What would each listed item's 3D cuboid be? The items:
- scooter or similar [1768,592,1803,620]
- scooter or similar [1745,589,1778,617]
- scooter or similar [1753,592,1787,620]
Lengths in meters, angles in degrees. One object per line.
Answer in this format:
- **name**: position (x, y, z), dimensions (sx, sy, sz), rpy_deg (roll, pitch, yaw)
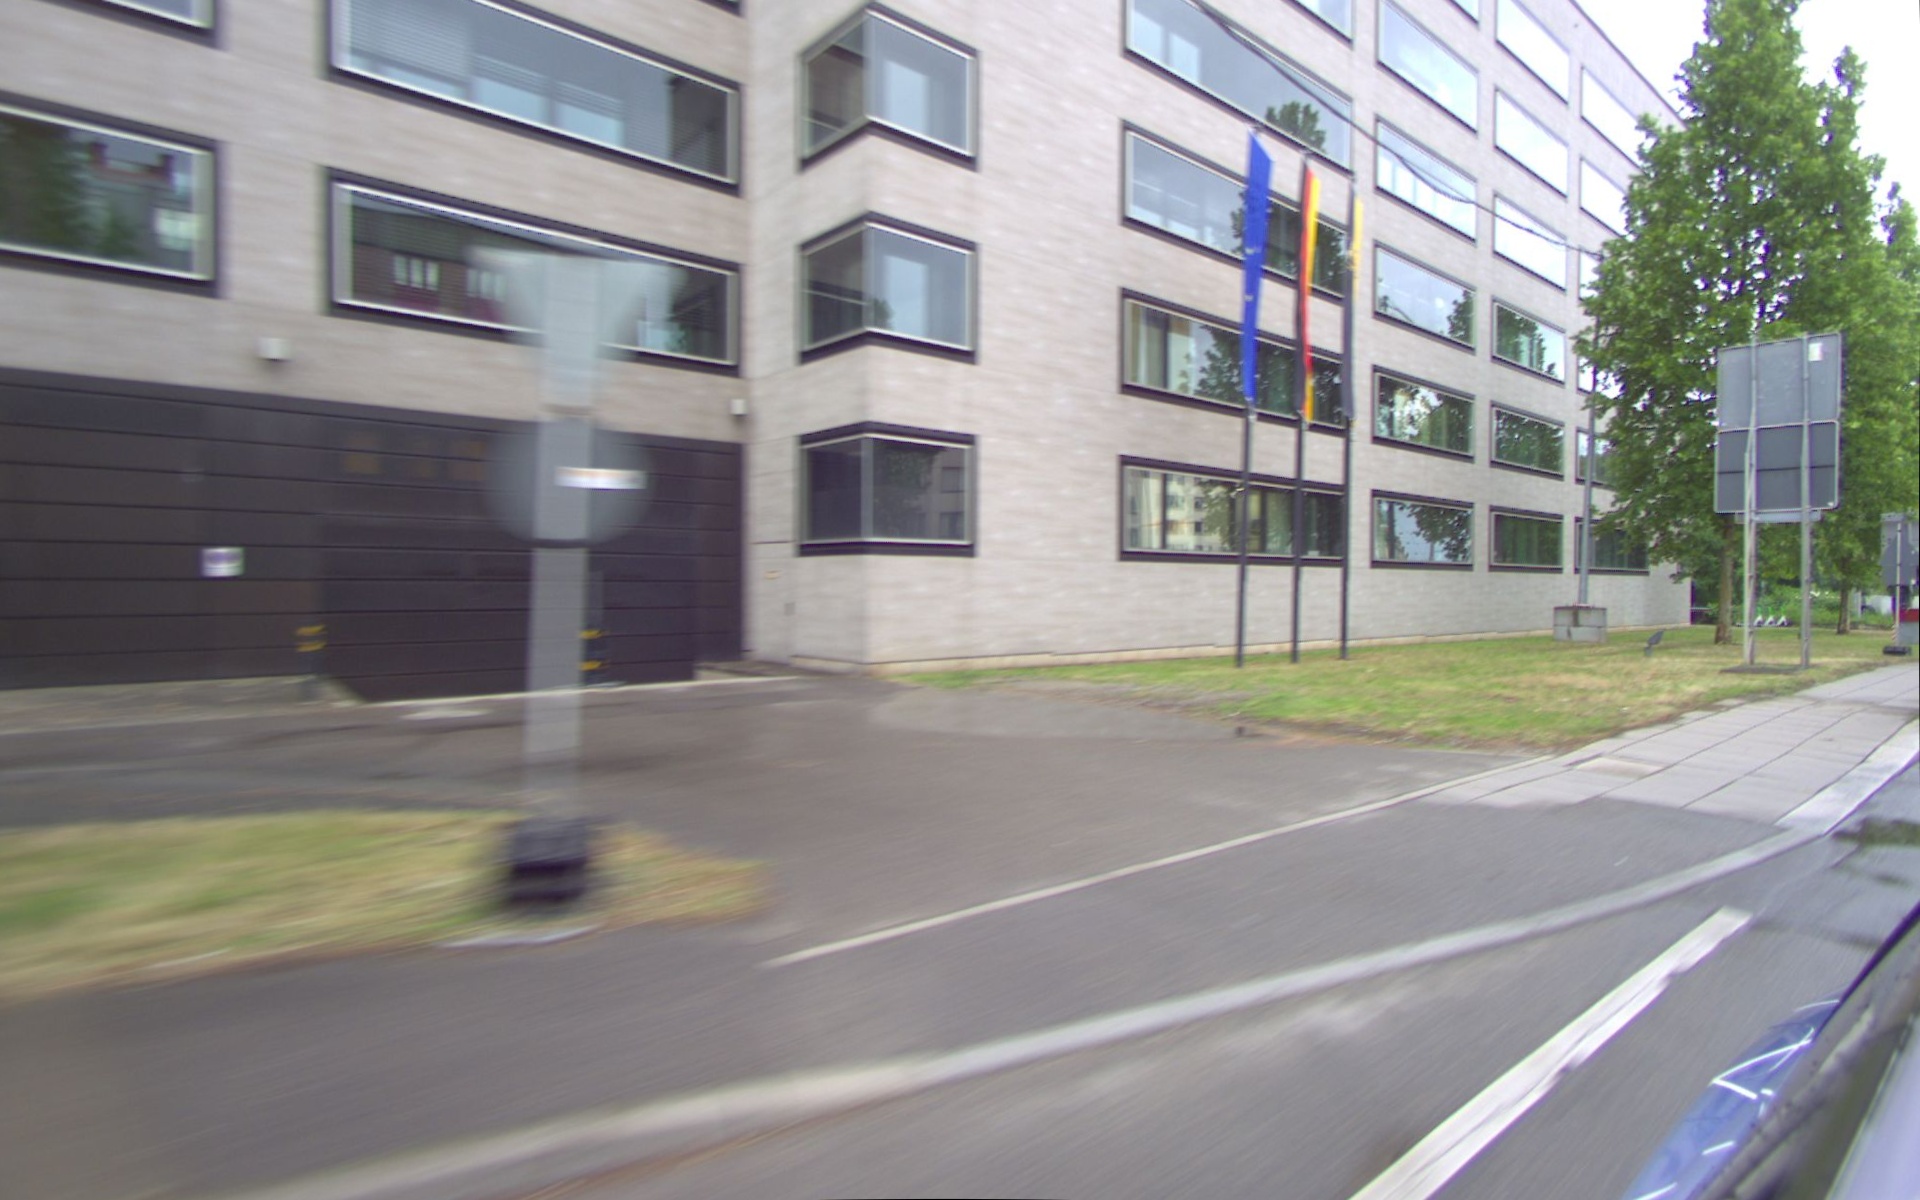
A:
- **scooter or similar**: position (39.751, 0.285, 48.710), dimensions (0.545, 1.329, 1.238), rpy_deg (0, 1, -43)
- **scooter or similar**: position (39.781, 0.144, 50.238), dimensions (0.464, 1.329, 1.238), rpy_deg (0, 1, -43)
- **scooter or similar**: position (39.684, 0.273, 49.568), dimensions (0.464, 1.329, 1.238), rpy_deg (0, 1, -43)
